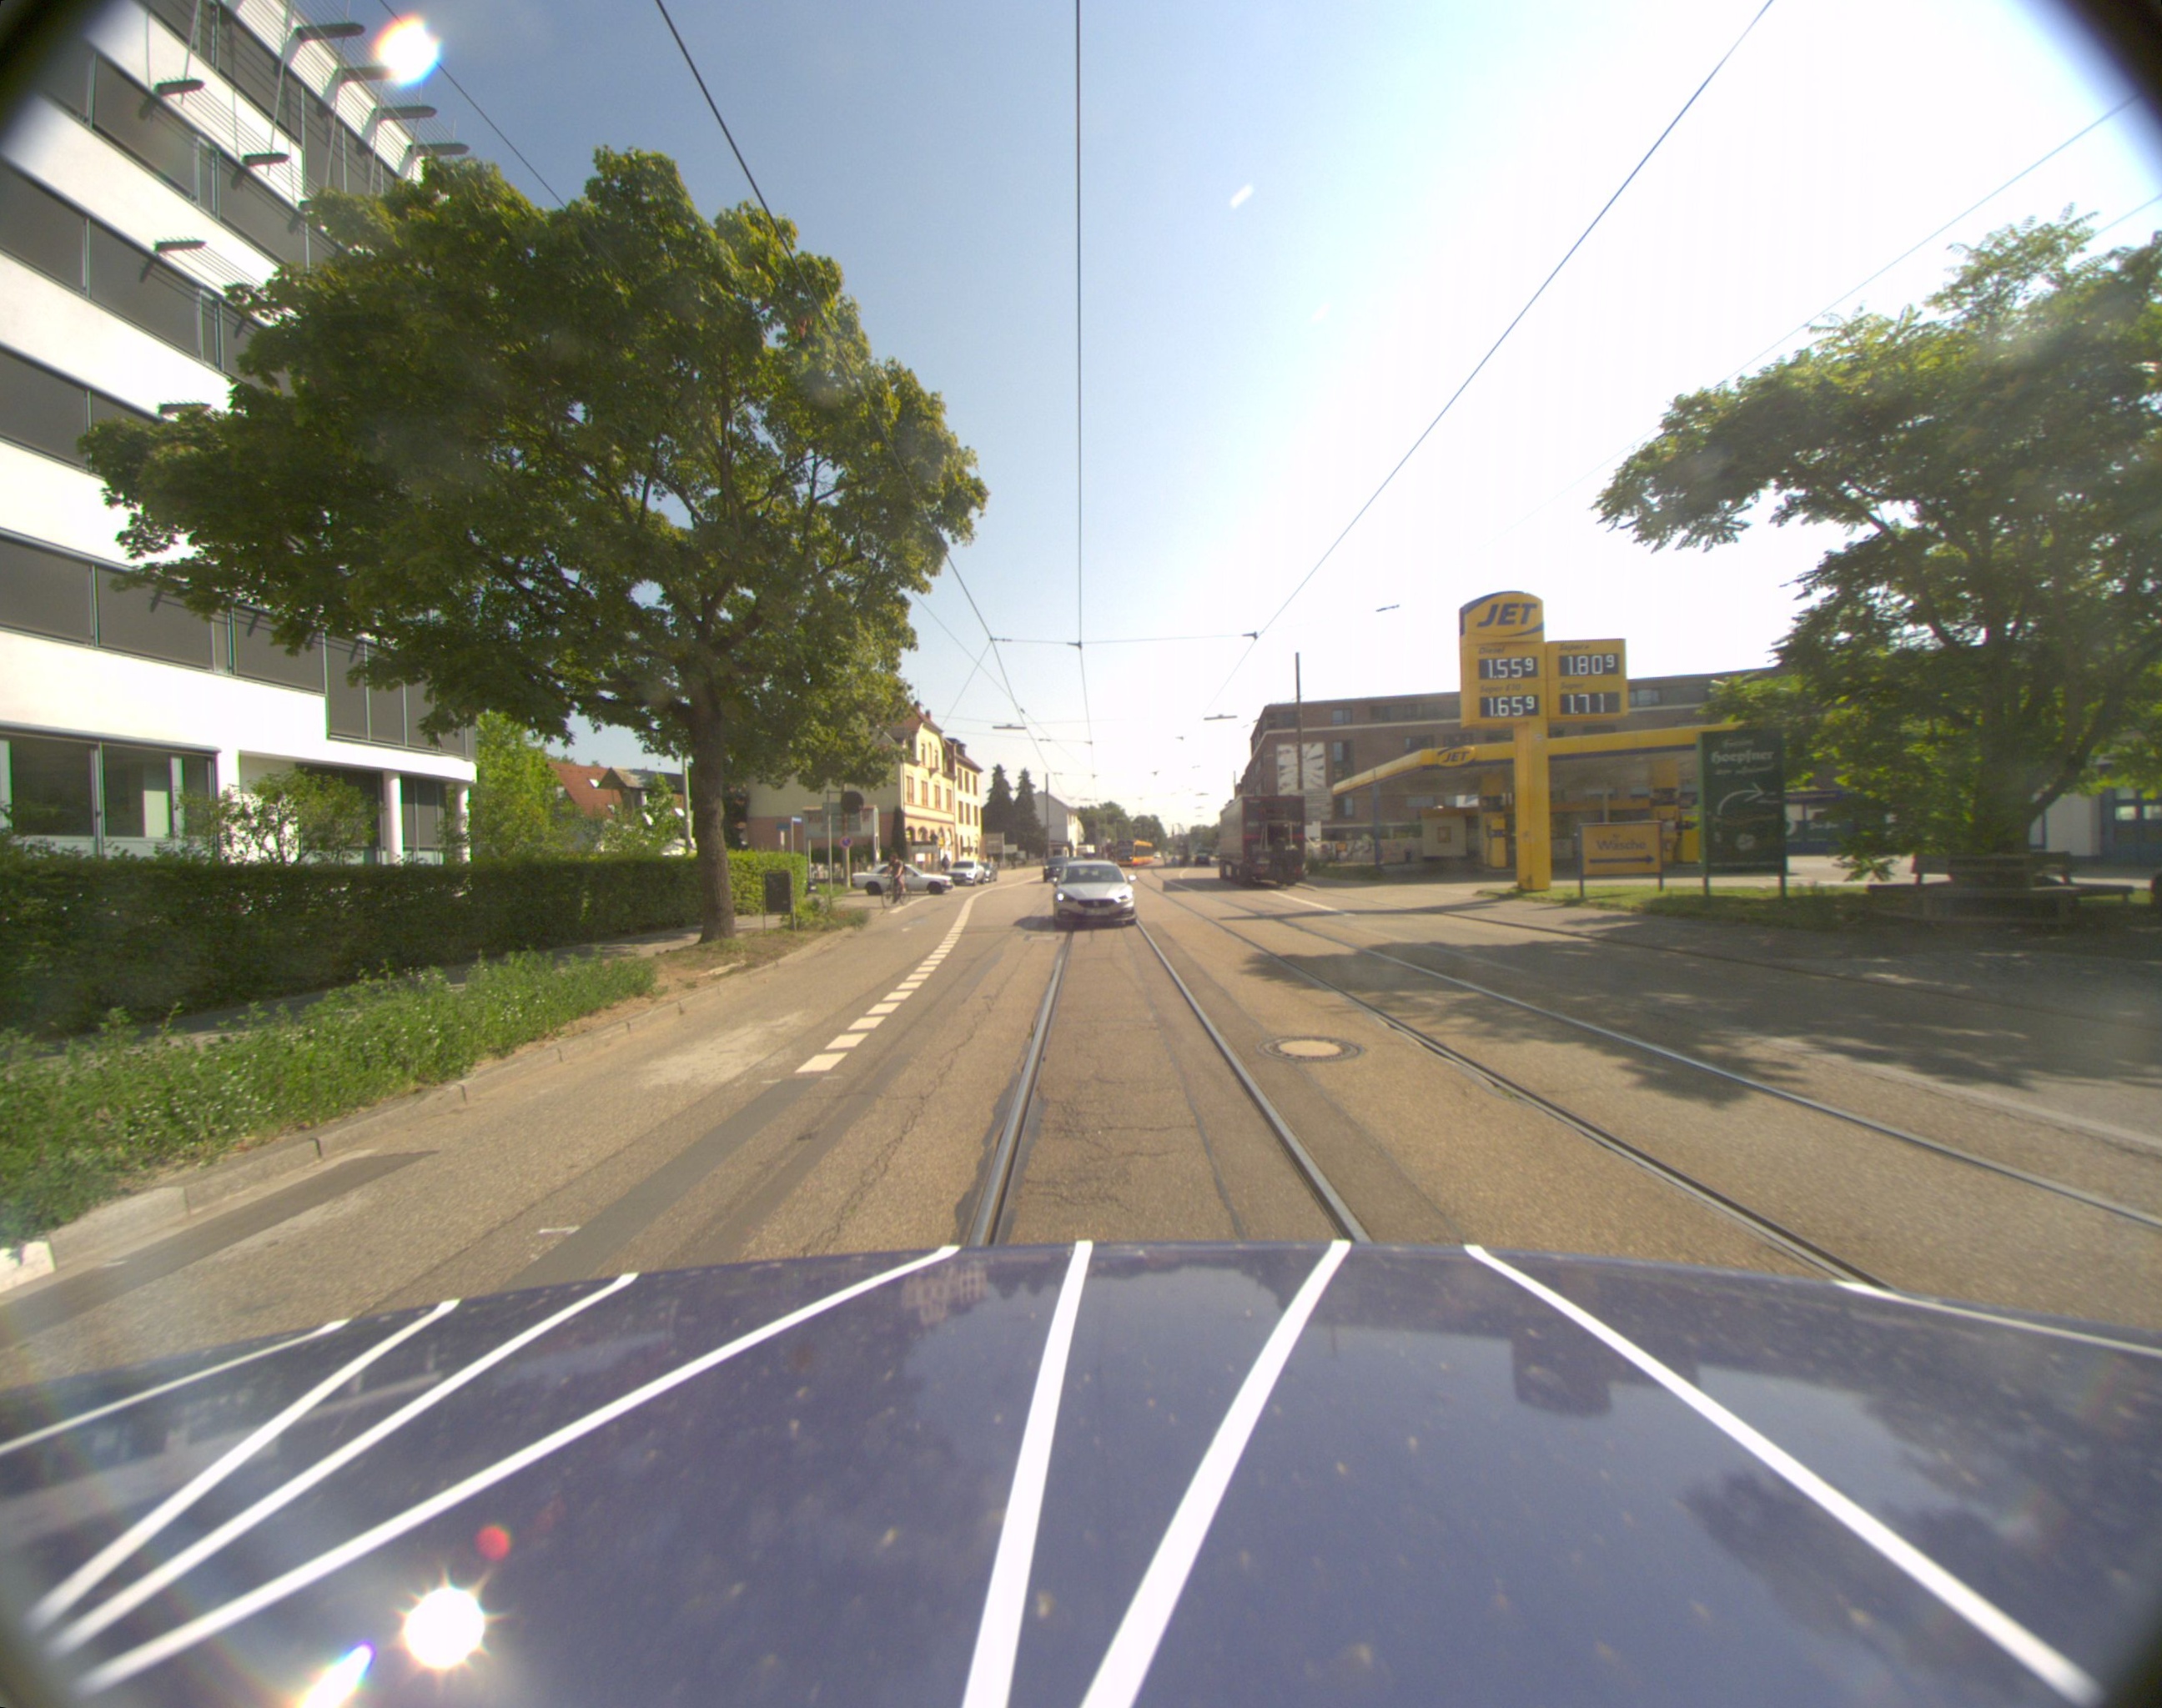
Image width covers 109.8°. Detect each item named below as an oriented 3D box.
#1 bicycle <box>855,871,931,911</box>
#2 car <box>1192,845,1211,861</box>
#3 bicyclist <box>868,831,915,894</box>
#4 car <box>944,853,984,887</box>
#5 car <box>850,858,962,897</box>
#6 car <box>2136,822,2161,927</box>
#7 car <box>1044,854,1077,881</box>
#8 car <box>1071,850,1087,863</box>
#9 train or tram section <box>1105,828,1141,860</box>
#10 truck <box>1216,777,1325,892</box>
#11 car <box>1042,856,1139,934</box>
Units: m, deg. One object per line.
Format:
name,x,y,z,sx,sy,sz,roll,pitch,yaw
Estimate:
bicycle,-6.101,1.185,24.845,1.136,1.118,2.540,-2,1,21
car,13.774,-0.110,87.001,1.778,1.657,4.001,-2,1,5
bicyclist,-6.143,0.256,24.713,0.781,2.002,1.276,-2,1,23
car,-7.328,0.968,47.981,1.960,1.910,4.552,-2,1,-4
car,-7.756,1.012,33.960,4.552,1.506,1.960,-2,1,-4
car,14.845,0.318,8.642,1.932,1.452,4.536,-2,1,35
car,-1.267,0.838,48.408,1.834,1.543,4.032,-2,1,1
car,-0.214,0.257,96.864,1.834,1.543,4.032,-2,1,1
train or tram section,5.584,-1.387,103.776,4.111,3.711,24.379,-2,1,2
truck,8.951,-0.883,38.320,3.171,4.427,16.846,-2,1,7
car,0.224,0.840,18.012,1.928,1.465,4.816,-2,1,1
